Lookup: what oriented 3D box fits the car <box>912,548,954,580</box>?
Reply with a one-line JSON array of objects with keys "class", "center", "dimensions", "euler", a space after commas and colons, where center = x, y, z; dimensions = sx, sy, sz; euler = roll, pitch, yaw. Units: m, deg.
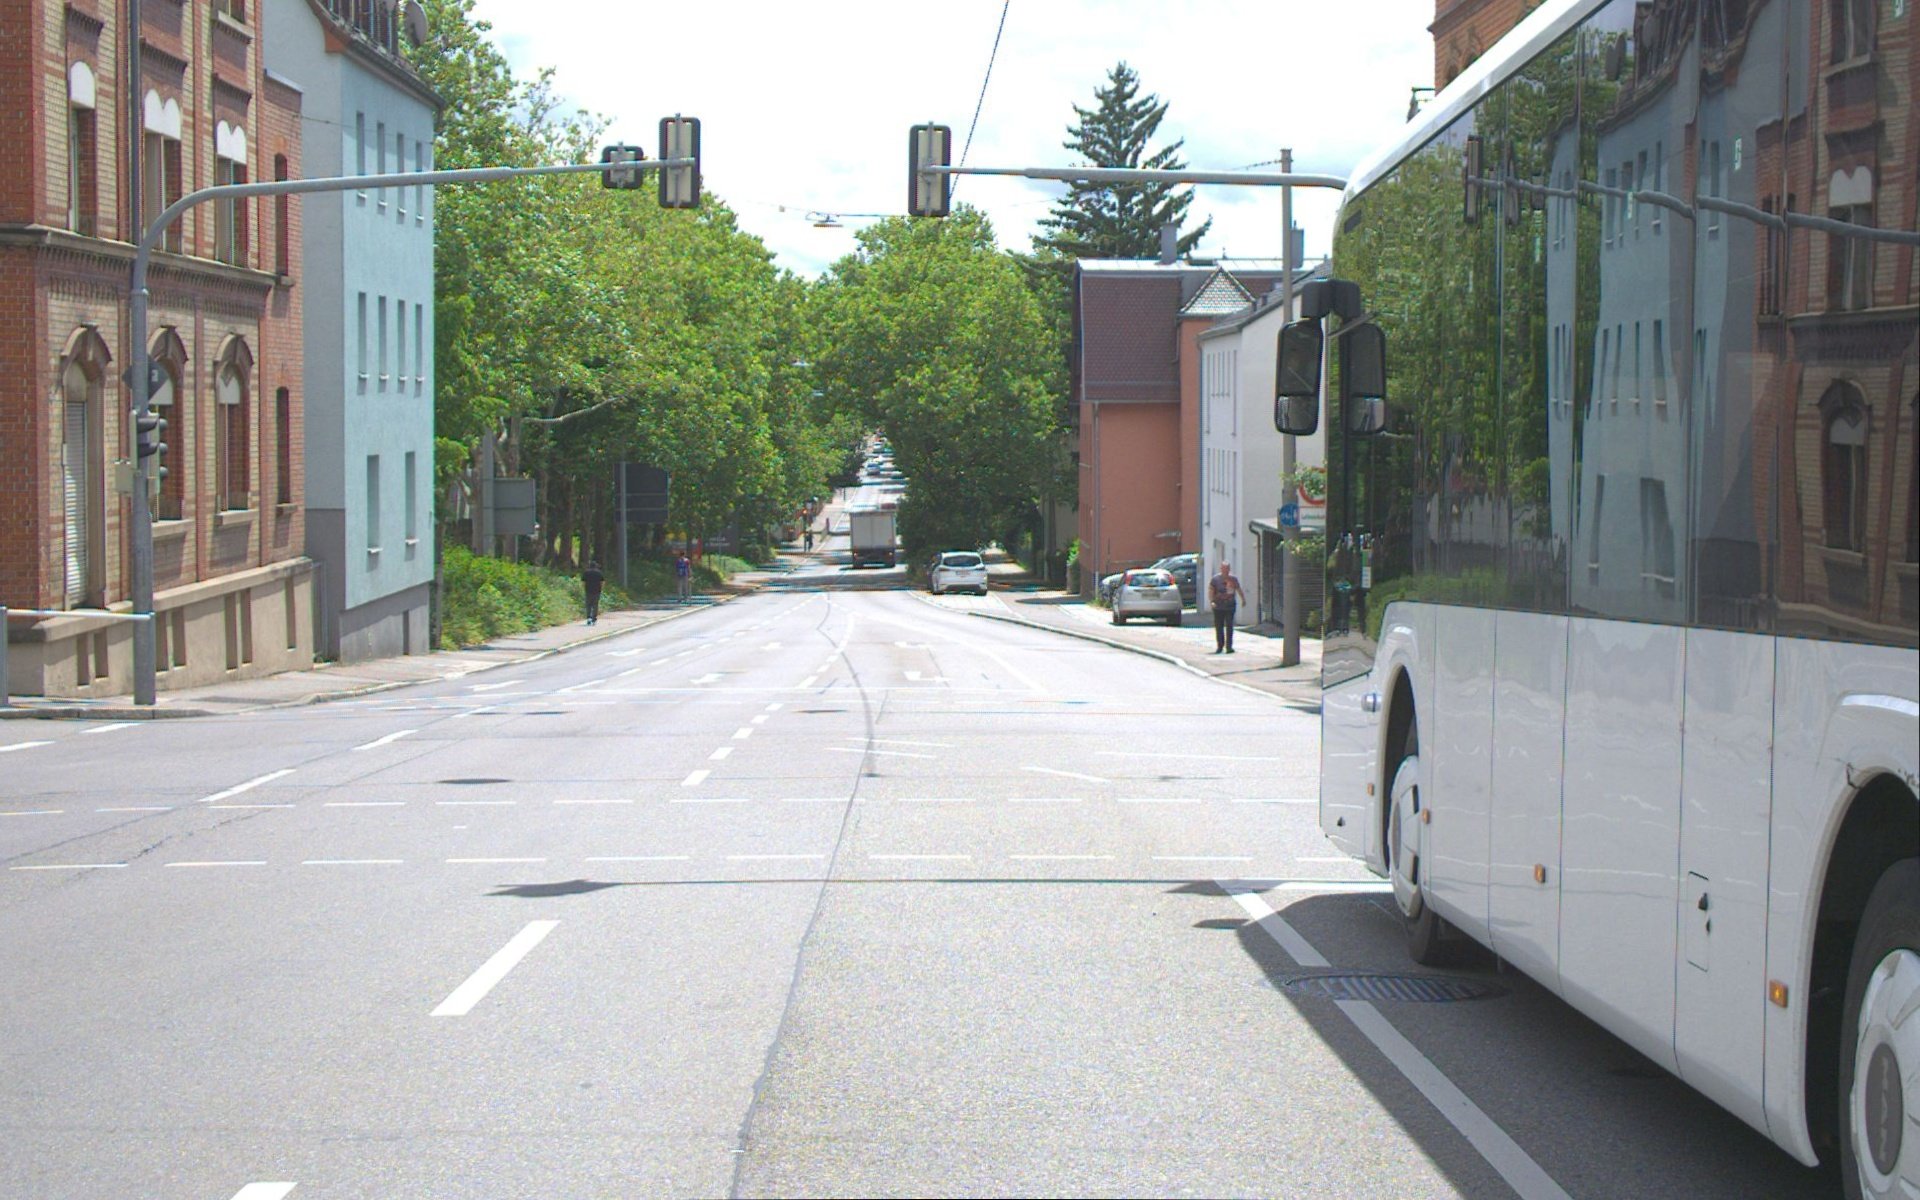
[{"class": "car", "center": [-1.200, -1.627, 153.926], "dimensions": [1.794, 1.405, 4.419], "euler": [1, 1, 0]}]

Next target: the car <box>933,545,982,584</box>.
[{"class": "car", "center": [-0.099, -1.339, 129.426], "dimensions": [1.794, 1.405, 4.000], "euler": [1, 1, -1]}]

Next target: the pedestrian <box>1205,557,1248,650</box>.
[{"class": "pedestrian", "center": [5.062, 0.059, 65.330], "dimensions": [0.738, 1.744, 0.619], "euler": [-1, 1, -1]}]

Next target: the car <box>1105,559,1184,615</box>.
[{"class": "car", "center": [4.975, -0.356, 93.066], "dimensions": [1.794, 1.405, 4.001], "euler": [-1, 1, -2]}]

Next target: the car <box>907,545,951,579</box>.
[{"class": "car", "center": [-1.299, -1.620, 145.819], "dimensions": [1.794, 1.405, 4.419], "euler": [1, 1, 0]}]

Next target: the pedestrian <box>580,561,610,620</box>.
[{"class": "pedestrian", "center": [-9.680, -0.246, 91.145], "dimensions": [0.729, 1.560, 0.561], "euler": [0, 1, -1]}]

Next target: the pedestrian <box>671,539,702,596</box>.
[{"class": "pedestrian", "center": [-9.661, -1.145, 121.512], "dimensions": [0.995, 2.007, 1.189], "euler": [-1, 1, -1]}]

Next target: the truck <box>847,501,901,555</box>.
[{"class": "truck", "center": [-5.073, -4.217, 201.503], "dimensions": [2.926, 3.070, 7.886], "euler": [-1, 1, -3]}]

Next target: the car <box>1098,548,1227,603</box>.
[{"class": "car", "center": [6.649, -0.810, 113.164], "dimensions": [3.986, 1.751, 2.000], "euler": [-1, 1, -5]}]

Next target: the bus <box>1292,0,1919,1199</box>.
[{"class": "bus", "center": [2.882, -0.212, 9.210], "dimensions": [2.672, 3.145, 12.462], "euler": [0, 1, -1]}]
